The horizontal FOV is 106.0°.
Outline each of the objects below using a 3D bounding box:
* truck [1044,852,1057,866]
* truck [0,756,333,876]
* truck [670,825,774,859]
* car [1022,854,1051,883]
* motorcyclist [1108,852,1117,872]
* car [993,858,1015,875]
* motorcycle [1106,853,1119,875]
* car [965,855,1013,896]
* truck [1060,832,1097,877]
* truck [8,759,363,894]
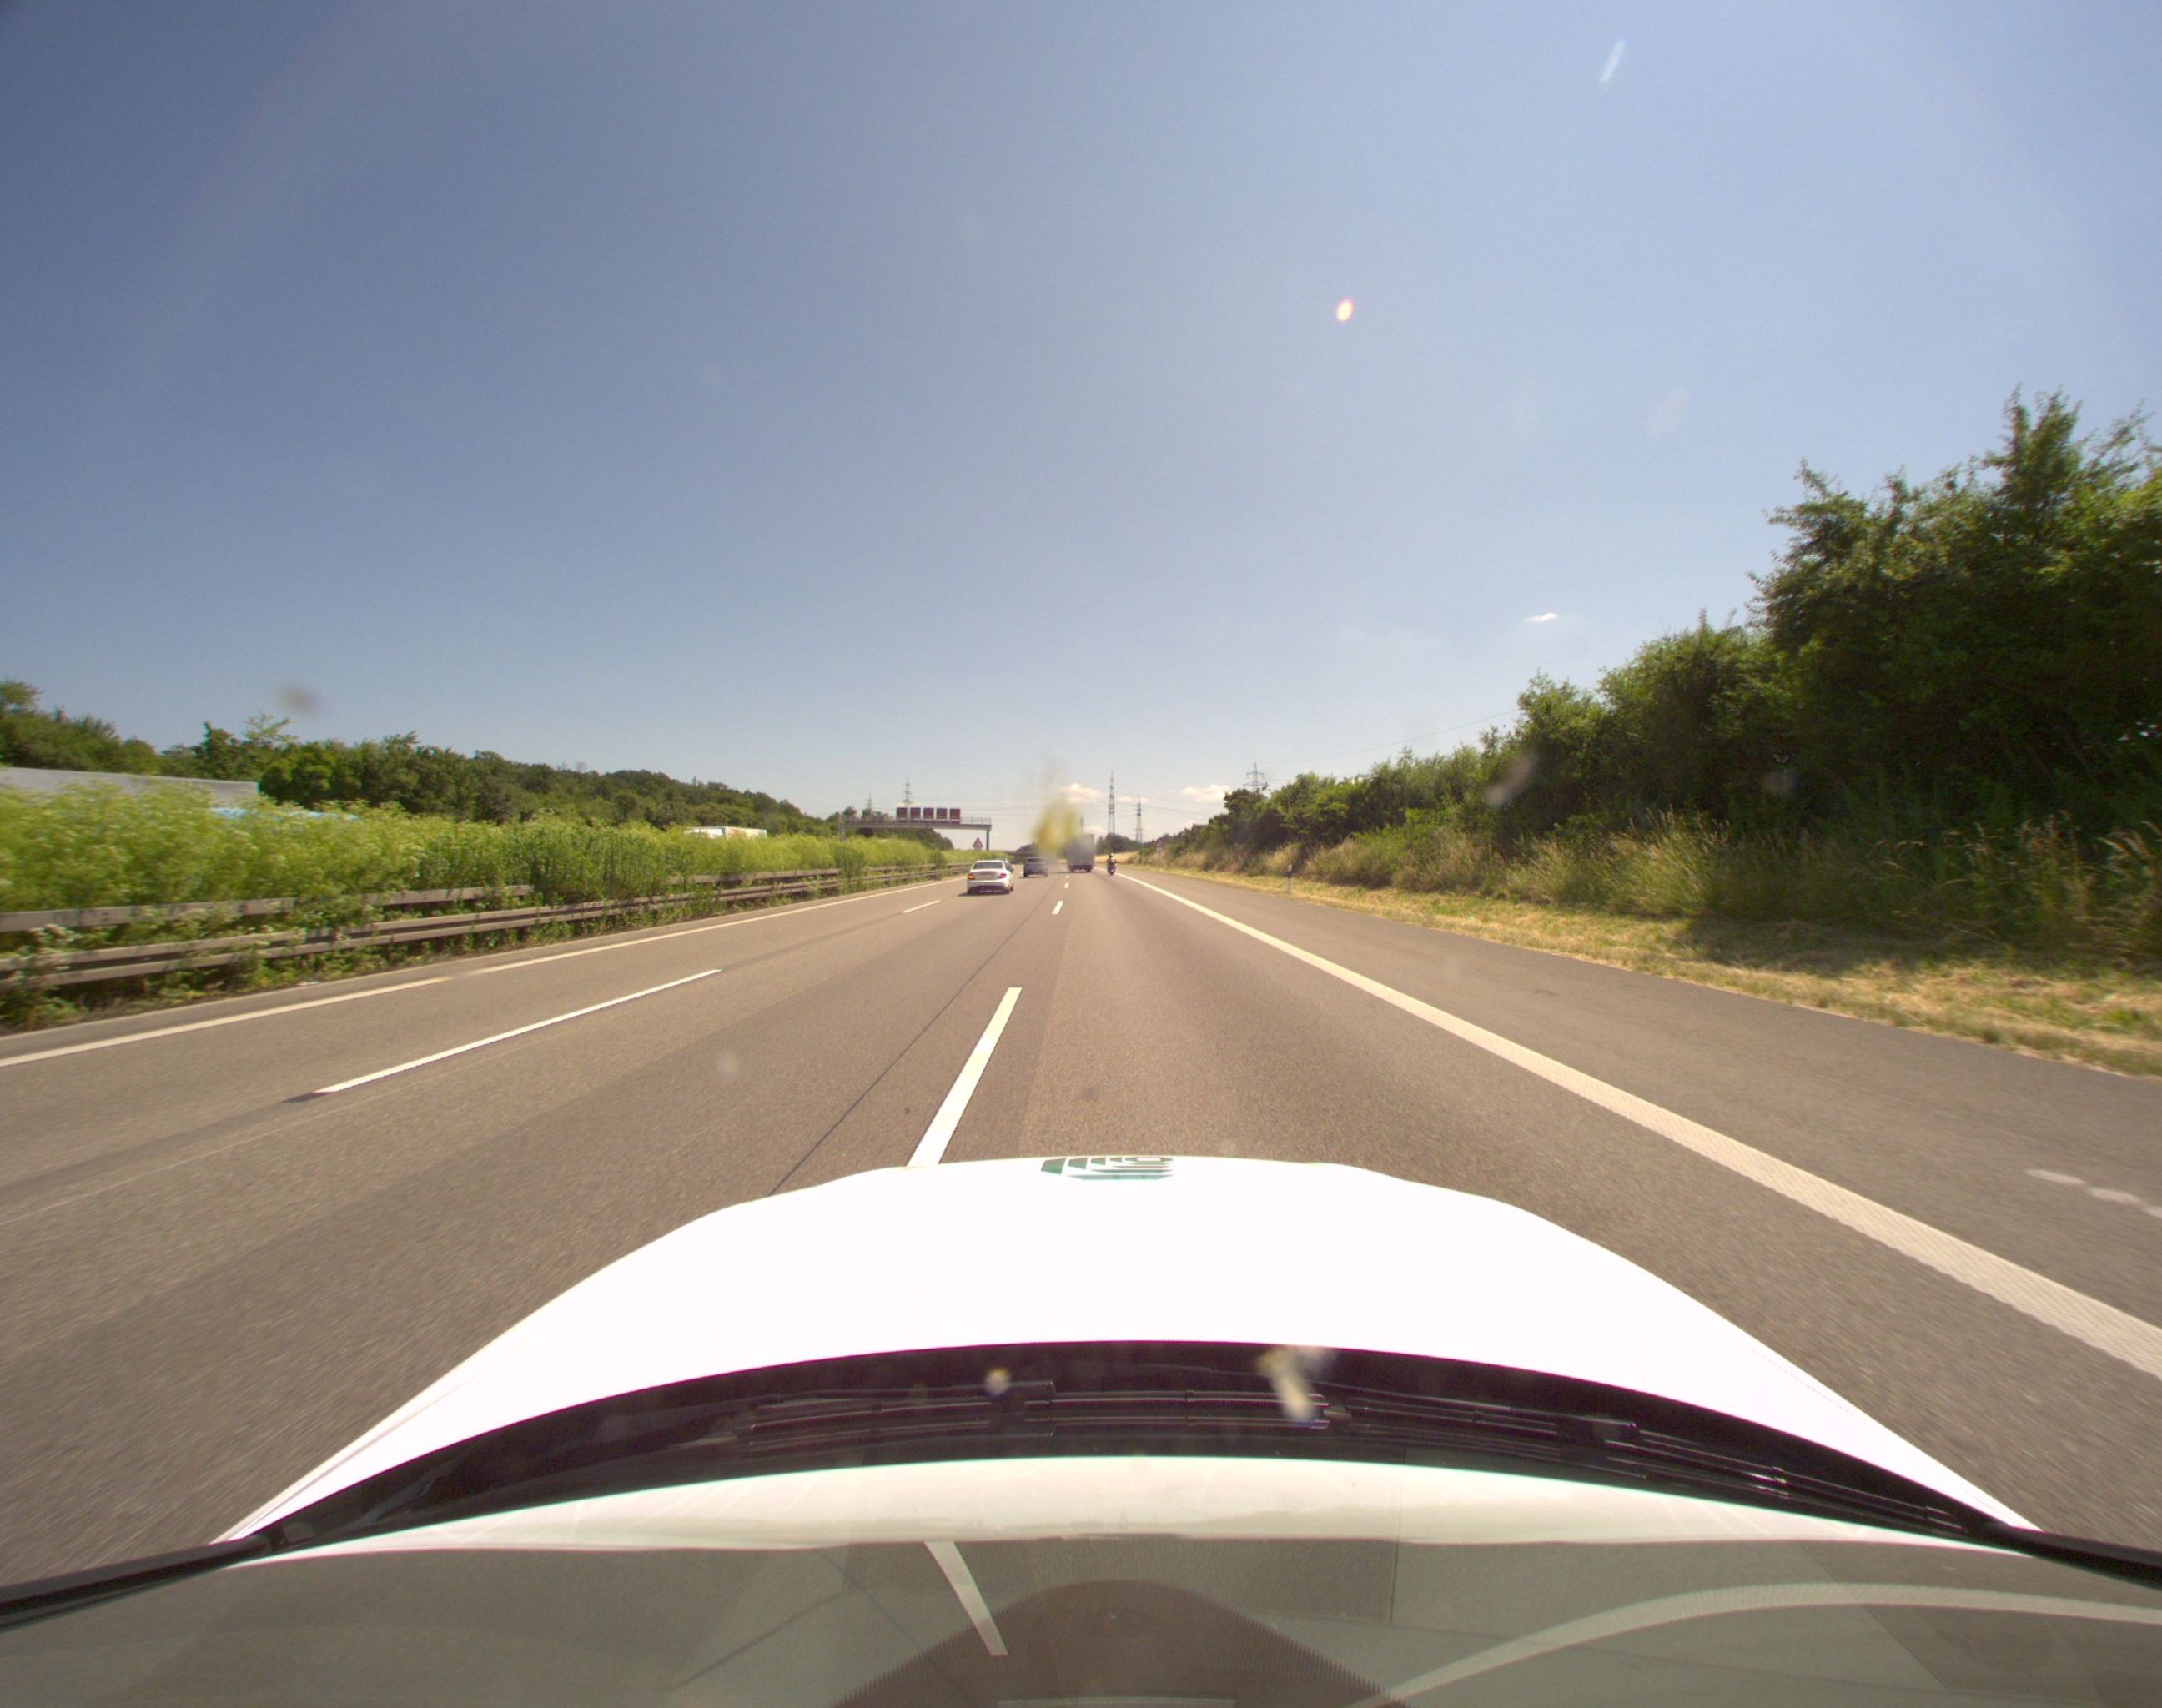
[{"bbox_3d":[-8.564,1.354,226.989,3.476,3.912,7.282,-1,0,-3],"label":"truck"},{"bbox_3d":[-19.377,-0.628,16.274,2.483,2.013,6.797,-2,0,0],"label":"truck"},{"bbox_3d":[-24.020,-0.745,55.184,2.645,2.013,9.855,-2,0,0],"label":"truck"},{"bbox_3d":[-3.338,1.069,61.371,1.988,2.013,3.998,-2,0,-1],"label":"car"},{"bbox_3d":[2.431,0.633,62.643,0.571,1.479,0.700,-2,0,-3],"label":"motorcyclist"},{"bbox_3d":[-7.234,1.157,76.533,1.752,1.429,3.997,-2,0,-2],"label":"car"},{"bbox_3d":[2.433,0.767,62.605,0.807,1.607,1.781,-1,0,-2],"label":"motorcycle"},{"bbox_3d":[-3.849,0.859,34.632,1.816,1.540,3.909,-2,0,-4],"label":"car"},{"bbox_3d":[-0.300,0.068,78.178,3.213,3.924,9.053,-1,0,-2],"label":"truck"},{"bbox_3d":[-15.552,-0.437,14.542,1.849,2.013,3.999,-2,0,0],"label":"truck"}]
